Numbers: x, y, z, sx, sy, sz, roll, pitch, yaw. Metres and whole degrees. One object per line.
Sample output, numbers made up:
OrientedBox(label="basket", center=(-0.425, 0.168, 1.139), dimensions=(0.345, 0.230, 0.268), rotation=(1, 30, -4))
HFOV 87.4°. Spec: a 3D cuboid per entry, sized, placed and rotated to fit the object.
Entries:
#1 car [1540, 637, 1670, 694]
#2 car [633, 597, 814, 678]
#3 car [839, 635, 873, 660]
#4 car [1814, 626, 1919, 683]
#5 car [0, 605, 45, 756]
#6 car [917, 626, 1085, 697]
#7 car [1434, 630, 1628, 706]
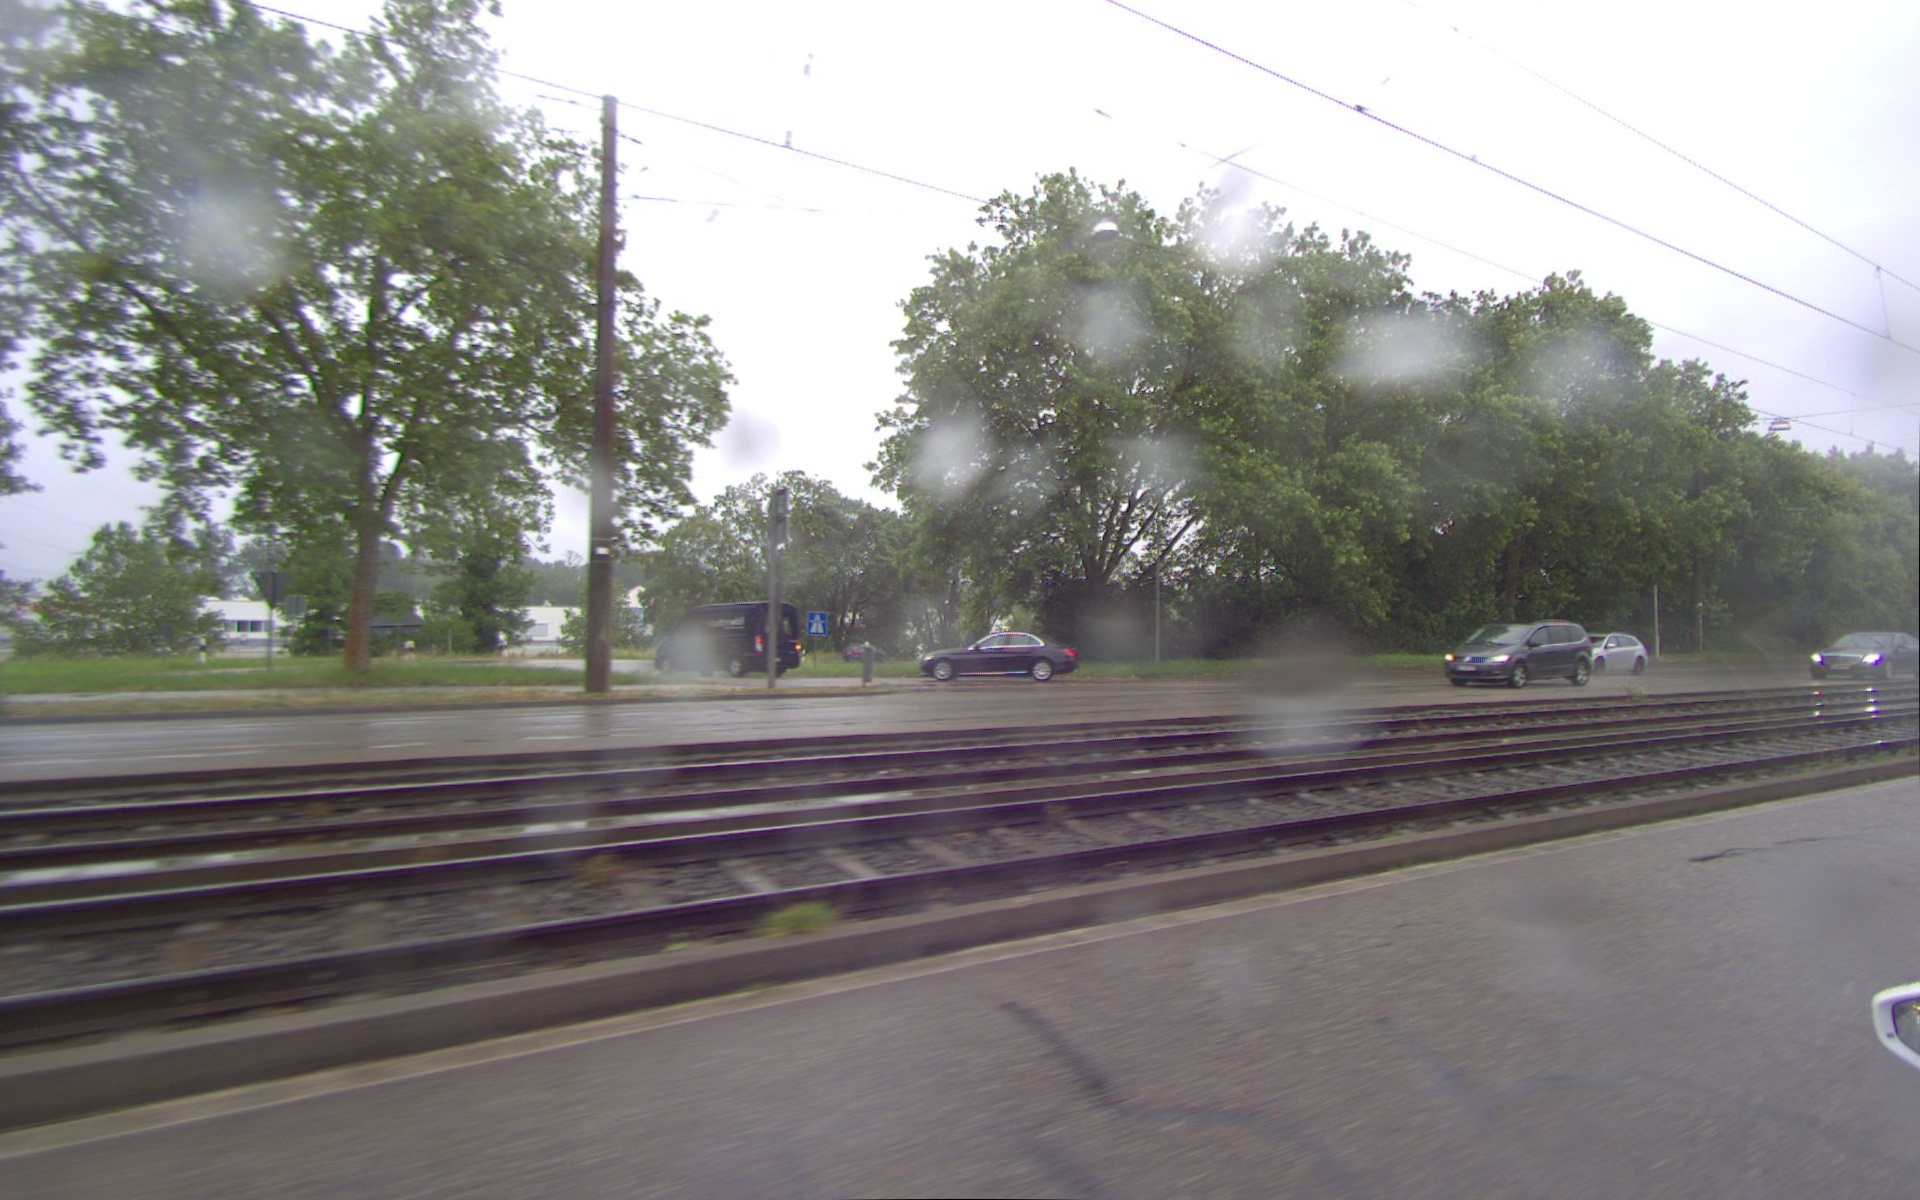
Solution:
OrientedBox(label="car", center=(22.469, 2.220, 34.941), dimensions=(4.962, 1.729, 1.810), rotation=(0, 1, -31))
OrientedBox(label="car", center=(-7.919, 1.158, 33.552), dimensions=(5.741, 2.458, 2.336), rotation=(1, 1, 27))
OrientedBox(label="car", center=(-8.119, 3.711, 78.793), dimensions=(1.628, 1.684, 3.619), rotation=(1, 1, 13))
OrientedBox(label="car", center=(29.750, 1.687, 32.339), dimensions=(5.616, 1.606, 1.767), rotation=(0, 1, -31))
OrientedBox(label="car", center=(-12.763, 0.849, 9.887), dimensions=(5.251, 1.570, 1.781), rotation=(0, 1, -31))
OrientedBox(label="car", center=(1.220, 1.742, 29.053), dimensions=(4.667, 1.822, 2.090), rotation=(1, 1, 5))
OrientedBox(label="car", center=(15.434, 1.737, 27.003), dimensions=(6.034, 1.729, 1.810), rotation=(0, 1, -31))
